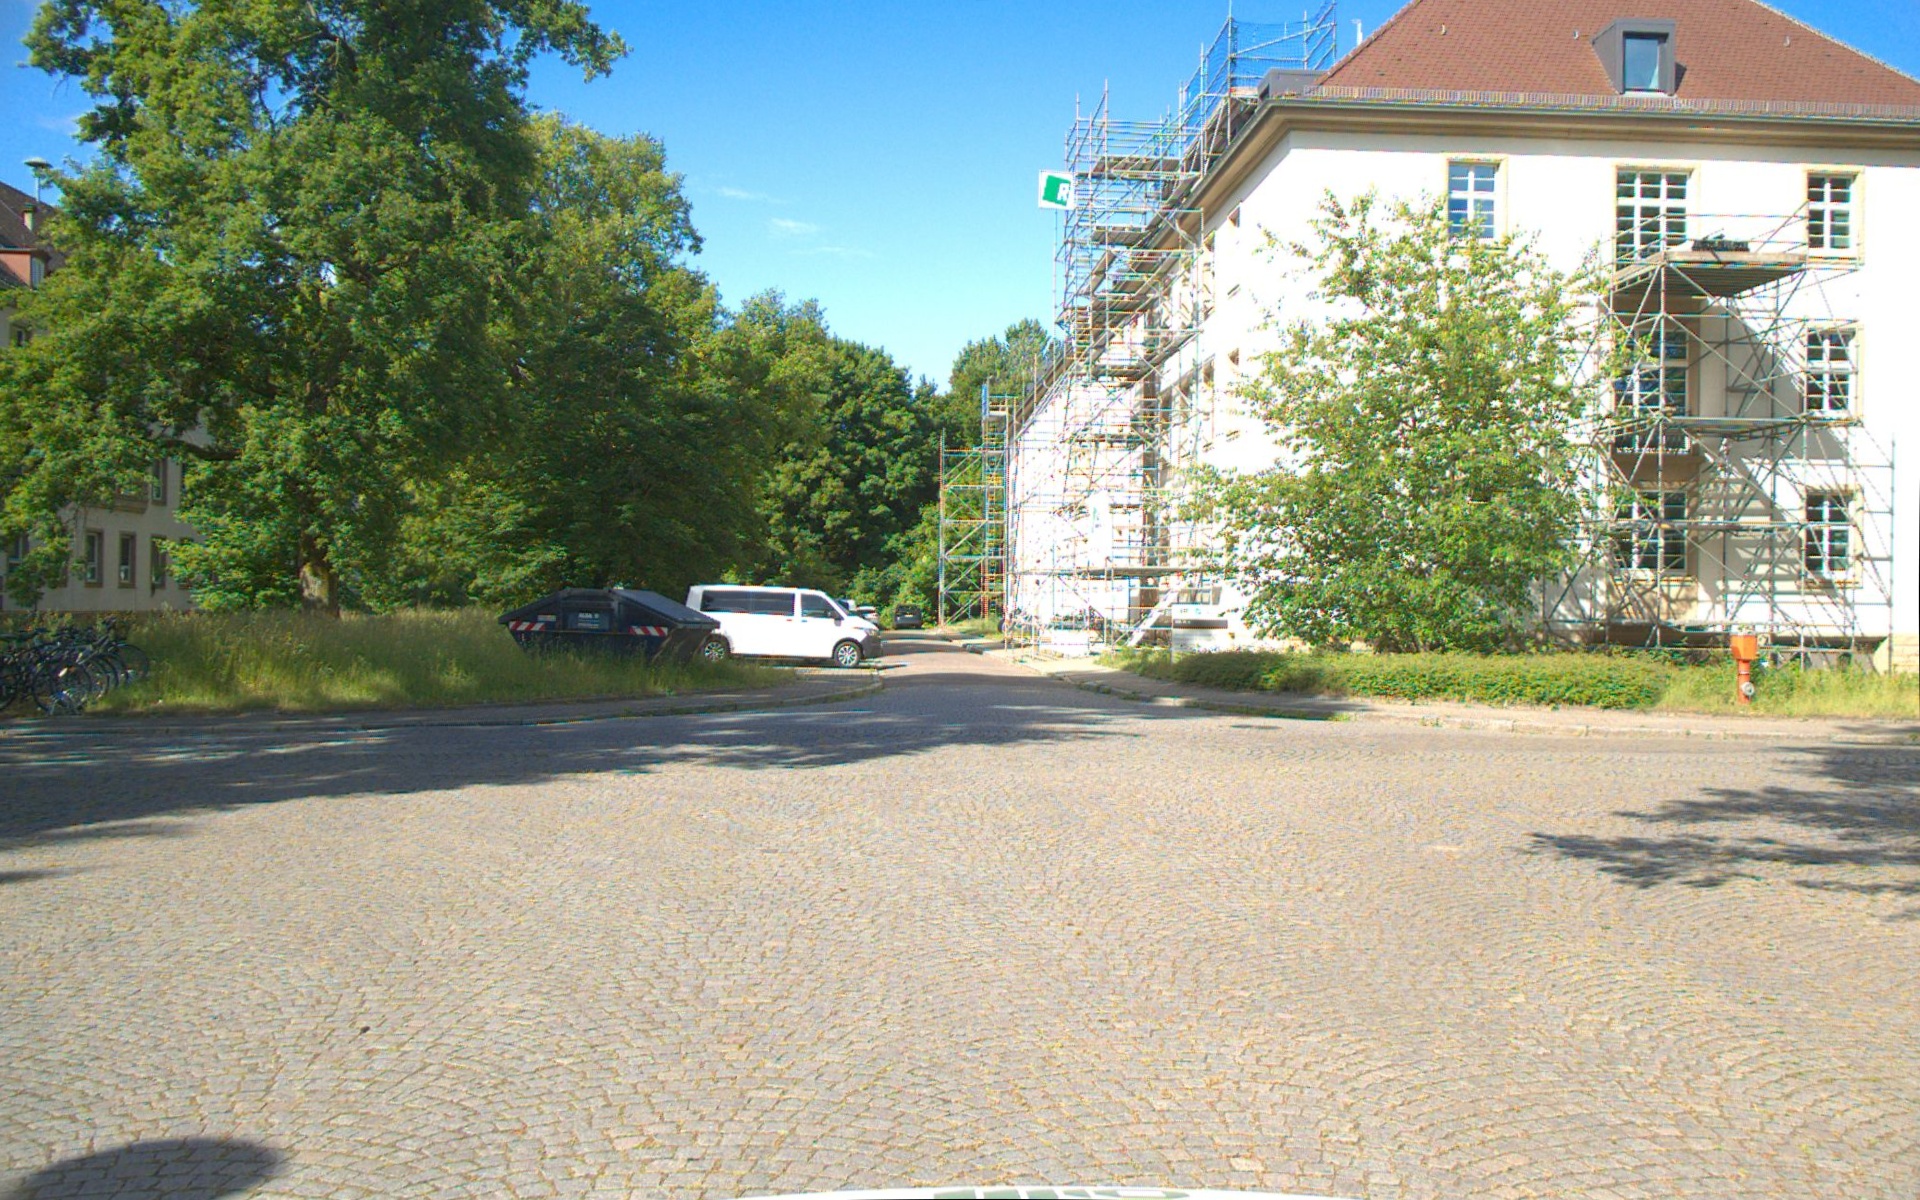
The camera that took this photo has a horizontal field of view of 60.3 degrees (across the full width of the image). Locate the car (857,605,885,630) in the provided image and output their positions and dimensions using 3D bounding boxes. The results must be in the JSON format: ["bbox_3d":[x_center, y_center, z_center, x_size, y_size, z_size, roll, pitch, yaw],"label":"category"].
[{"bbox_3d":[-5.857,1.164,108.415,1.776,1.607,4.131,0,0,-4],"label":"car"}]

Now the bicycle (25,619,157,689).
[{"bbox_3d":[-14.492,0.883,27.623,1.888,1.076,0.472,-2,0,-25],"label":"bicycle"}]

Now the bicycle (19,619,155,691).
[{"bbox_3d":[-14.099,0.879,26.745,1.888,1.076,0.472,-2,0,-25],"label":"bicycle"}]

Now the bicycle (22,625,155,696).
[{"bbox_3d":[-14.304,0.984,27.198,1.888,1.076,0.472,-2,0,-25],"label":"bicycle"}]

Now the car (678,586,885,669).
[{"bbox_3d":[-4.518,0.699,42.392,5.131,2.051,1.948,1,-1,-4],"label":"car"}]

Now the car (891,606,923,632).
[{"bbox_3d":[-3.524,1.226,108.877,1.932,1.697,4.082,0,0,-4],"label":"car"}]

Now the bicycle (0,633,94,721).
[{"bbox_3d":[-12.300,1.004,21.383,1.895,1.076,0.470,-2,0,-33],"label":"bicycle"}]

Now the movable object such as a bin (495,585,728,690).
[{"bbox_3d":[-6.104,0.641,29.165,3.490,1.775,2.026,0,0,15],"label":"movable object such as a bin"}]

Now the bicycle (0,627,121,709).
[{"bbox_3d":[-12.981,0.964,23.449,1.890,1.076,0.472,-2,0,-27],"label":"bicycle"}]

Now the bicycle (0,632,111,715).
[{"bbox_3d":[-12.838,1.014,22.895,1.890,1.076,0.472,-2,0,-27],"label":"bicycle"}]

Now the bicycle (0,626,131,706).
[{"bbox_3d":[-13.210,0.956,24.224,1.890,1.076,0.472,-2,0,-27],"label":"bicycle"}]

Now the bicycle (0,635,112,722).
[{"bbox_3d":[-12.347,1.045,21.936,1.895,1.076,0.470,-2,0,-33],"label":"bicycle"}]

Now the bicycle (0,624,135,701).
[{"bbox_3d":[-13.563,0.930,25.013,1.888,1.076,0.472,-2,0,-25],"label":"bicycle"}]
